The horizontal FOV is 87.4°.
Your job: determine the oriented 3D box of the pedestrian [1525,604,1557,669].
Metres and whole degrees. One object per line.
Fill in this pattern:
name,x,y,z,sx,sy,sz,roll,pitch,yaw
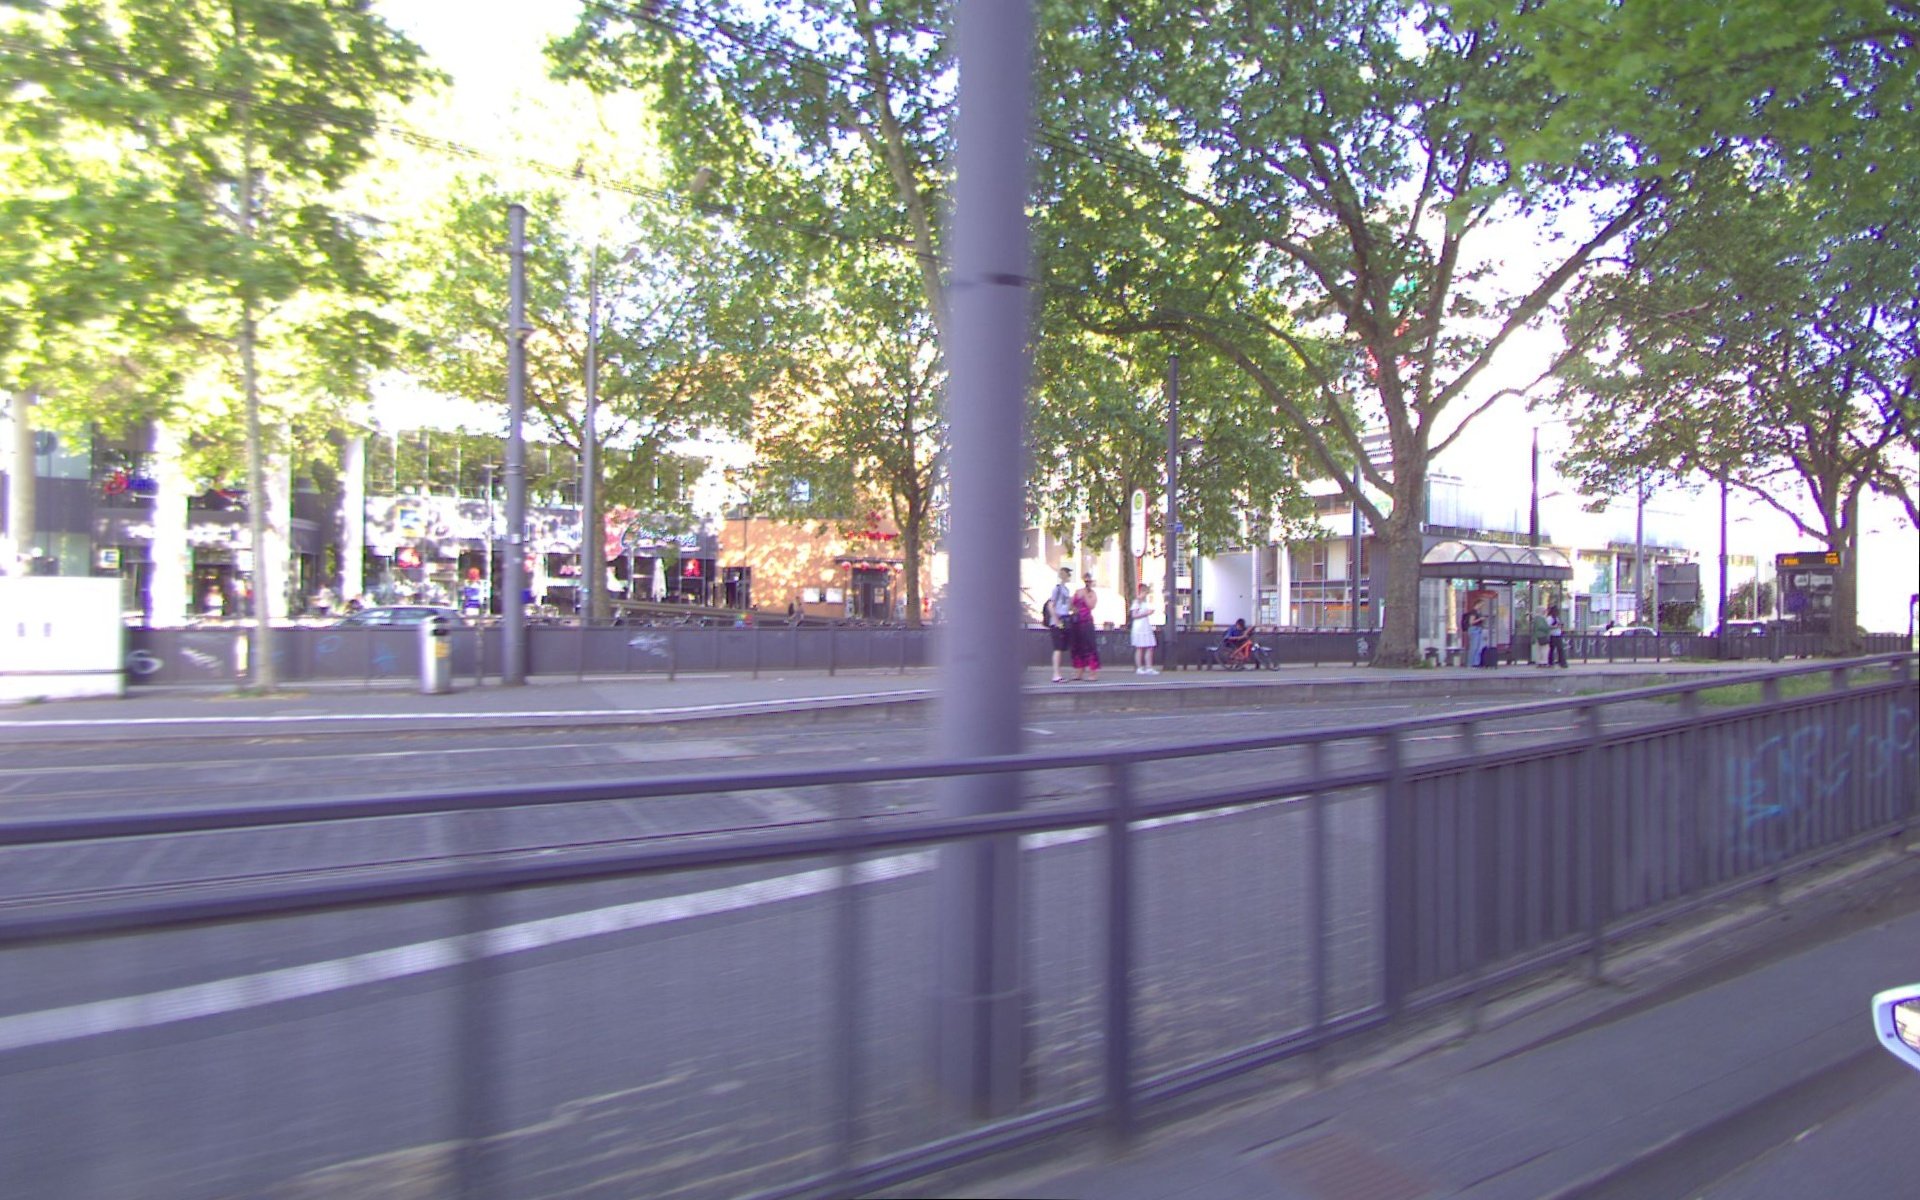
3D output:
pedestrian,14.392,0.893,24.885,0.487,1.594,0.499,-1,0,-26

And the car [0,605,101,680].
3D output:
car,-19.410,0.787,19.395,3.950,1.425,1.659,2,-1,-28

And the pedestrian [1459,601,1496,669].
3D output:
pedestrian,12.248,0.815,23.792,0.658,1.594,0.486,-1,0,13

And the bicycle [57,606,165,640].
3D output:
bicycle,-28.870,0.782,34.191,2.646,1.118,0.893,1,-2,-14

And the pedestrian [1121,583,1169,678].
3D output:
pedestrian,3.605,0.591,19.558,0.732,1.824,0.591,1,0,-14

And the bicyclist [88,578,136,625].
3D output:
bicyclist,-28.861,0.062,34.214,0.923,1.569,0.893,1,-2,-15

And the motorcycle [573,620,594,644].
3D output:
motorcycle,-17.399,1.481,46.457,0.819,1.072,2.334,1,-1,-18

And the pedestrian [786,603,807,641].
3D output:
pedestrian,-7.145,0.955,43.866,0.697,1.674,0.693,1,0,-30

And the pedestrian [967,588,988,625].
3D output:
pedestrian,0.816,0.302,46.456,0.697,1.674,0.693,1,0,-30

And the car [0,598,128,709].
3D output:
car,-13.662,0.662,13.174,3.953,1.433,1.658,2,-1,-30

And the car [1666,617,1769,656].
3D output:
car,29.293,1.420,38.832,3.950,1.425,1.659,2,-1,-28

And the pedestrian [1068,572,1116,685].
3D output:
pedestrian,2.206,0.475,16.818,0.730,1.853,0.592,1,0,2

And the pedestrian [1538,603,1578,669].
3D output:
pedestrian,14.919,0.885,25.063,0.629,1.594,0.563,-1,0,-18

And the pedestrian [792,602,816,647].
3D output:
pedestrian,-5.961,0.936,38.260,0.697,1.674,0.693,1,0,-29

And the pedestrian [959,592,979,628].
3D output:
pedestrian,0.422,0.488,47.171,0.697,1.674,0.693,1,0,-30

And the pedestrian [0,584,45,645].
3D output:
pedestrian,-26.557,0.432,28.447,0.707,1.702,0.826,1,-2,-26

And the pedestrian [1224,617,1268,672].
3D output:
pedestrian,6.249,0.968,21.954,0.732,1.179,0.591,1,0,-14

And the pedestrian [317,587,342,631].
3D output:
pedestrian,-26.218,0.381,41.787,0.694,1.791,0.696,1,0,-17

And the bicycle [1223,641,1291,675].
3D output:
bicycle,6.459,1.244,21.805,1.675,0.698,0.391,1,-1,-30

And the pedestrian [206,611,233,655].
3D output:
pedestrian,-28.433,1.257,38.571,0.689,1.674,0.702,1,0,-23

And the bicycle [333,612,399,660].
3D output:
bicycle,-17.935,1.045,30.287,1.027,1.371,3.320,1,-1,-42

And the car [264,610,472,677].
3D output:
car,-13.473,1.002,23.119,3.950,1.425,1.659,2,-1,-28

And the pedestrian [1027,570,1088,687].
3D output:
pedestrian,1.581,0.455,16.330,0.737,1.853,0.630,1,0,-35

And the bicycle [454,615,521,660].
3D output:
bicycle,-15.447,1.200,32.781,1.027,1.371,3.320,1,-1,-42

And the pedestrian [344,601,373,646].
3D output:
pedestrian,-22.654,0.877,37.849,0.694,1.674,0.696,0,0,34
